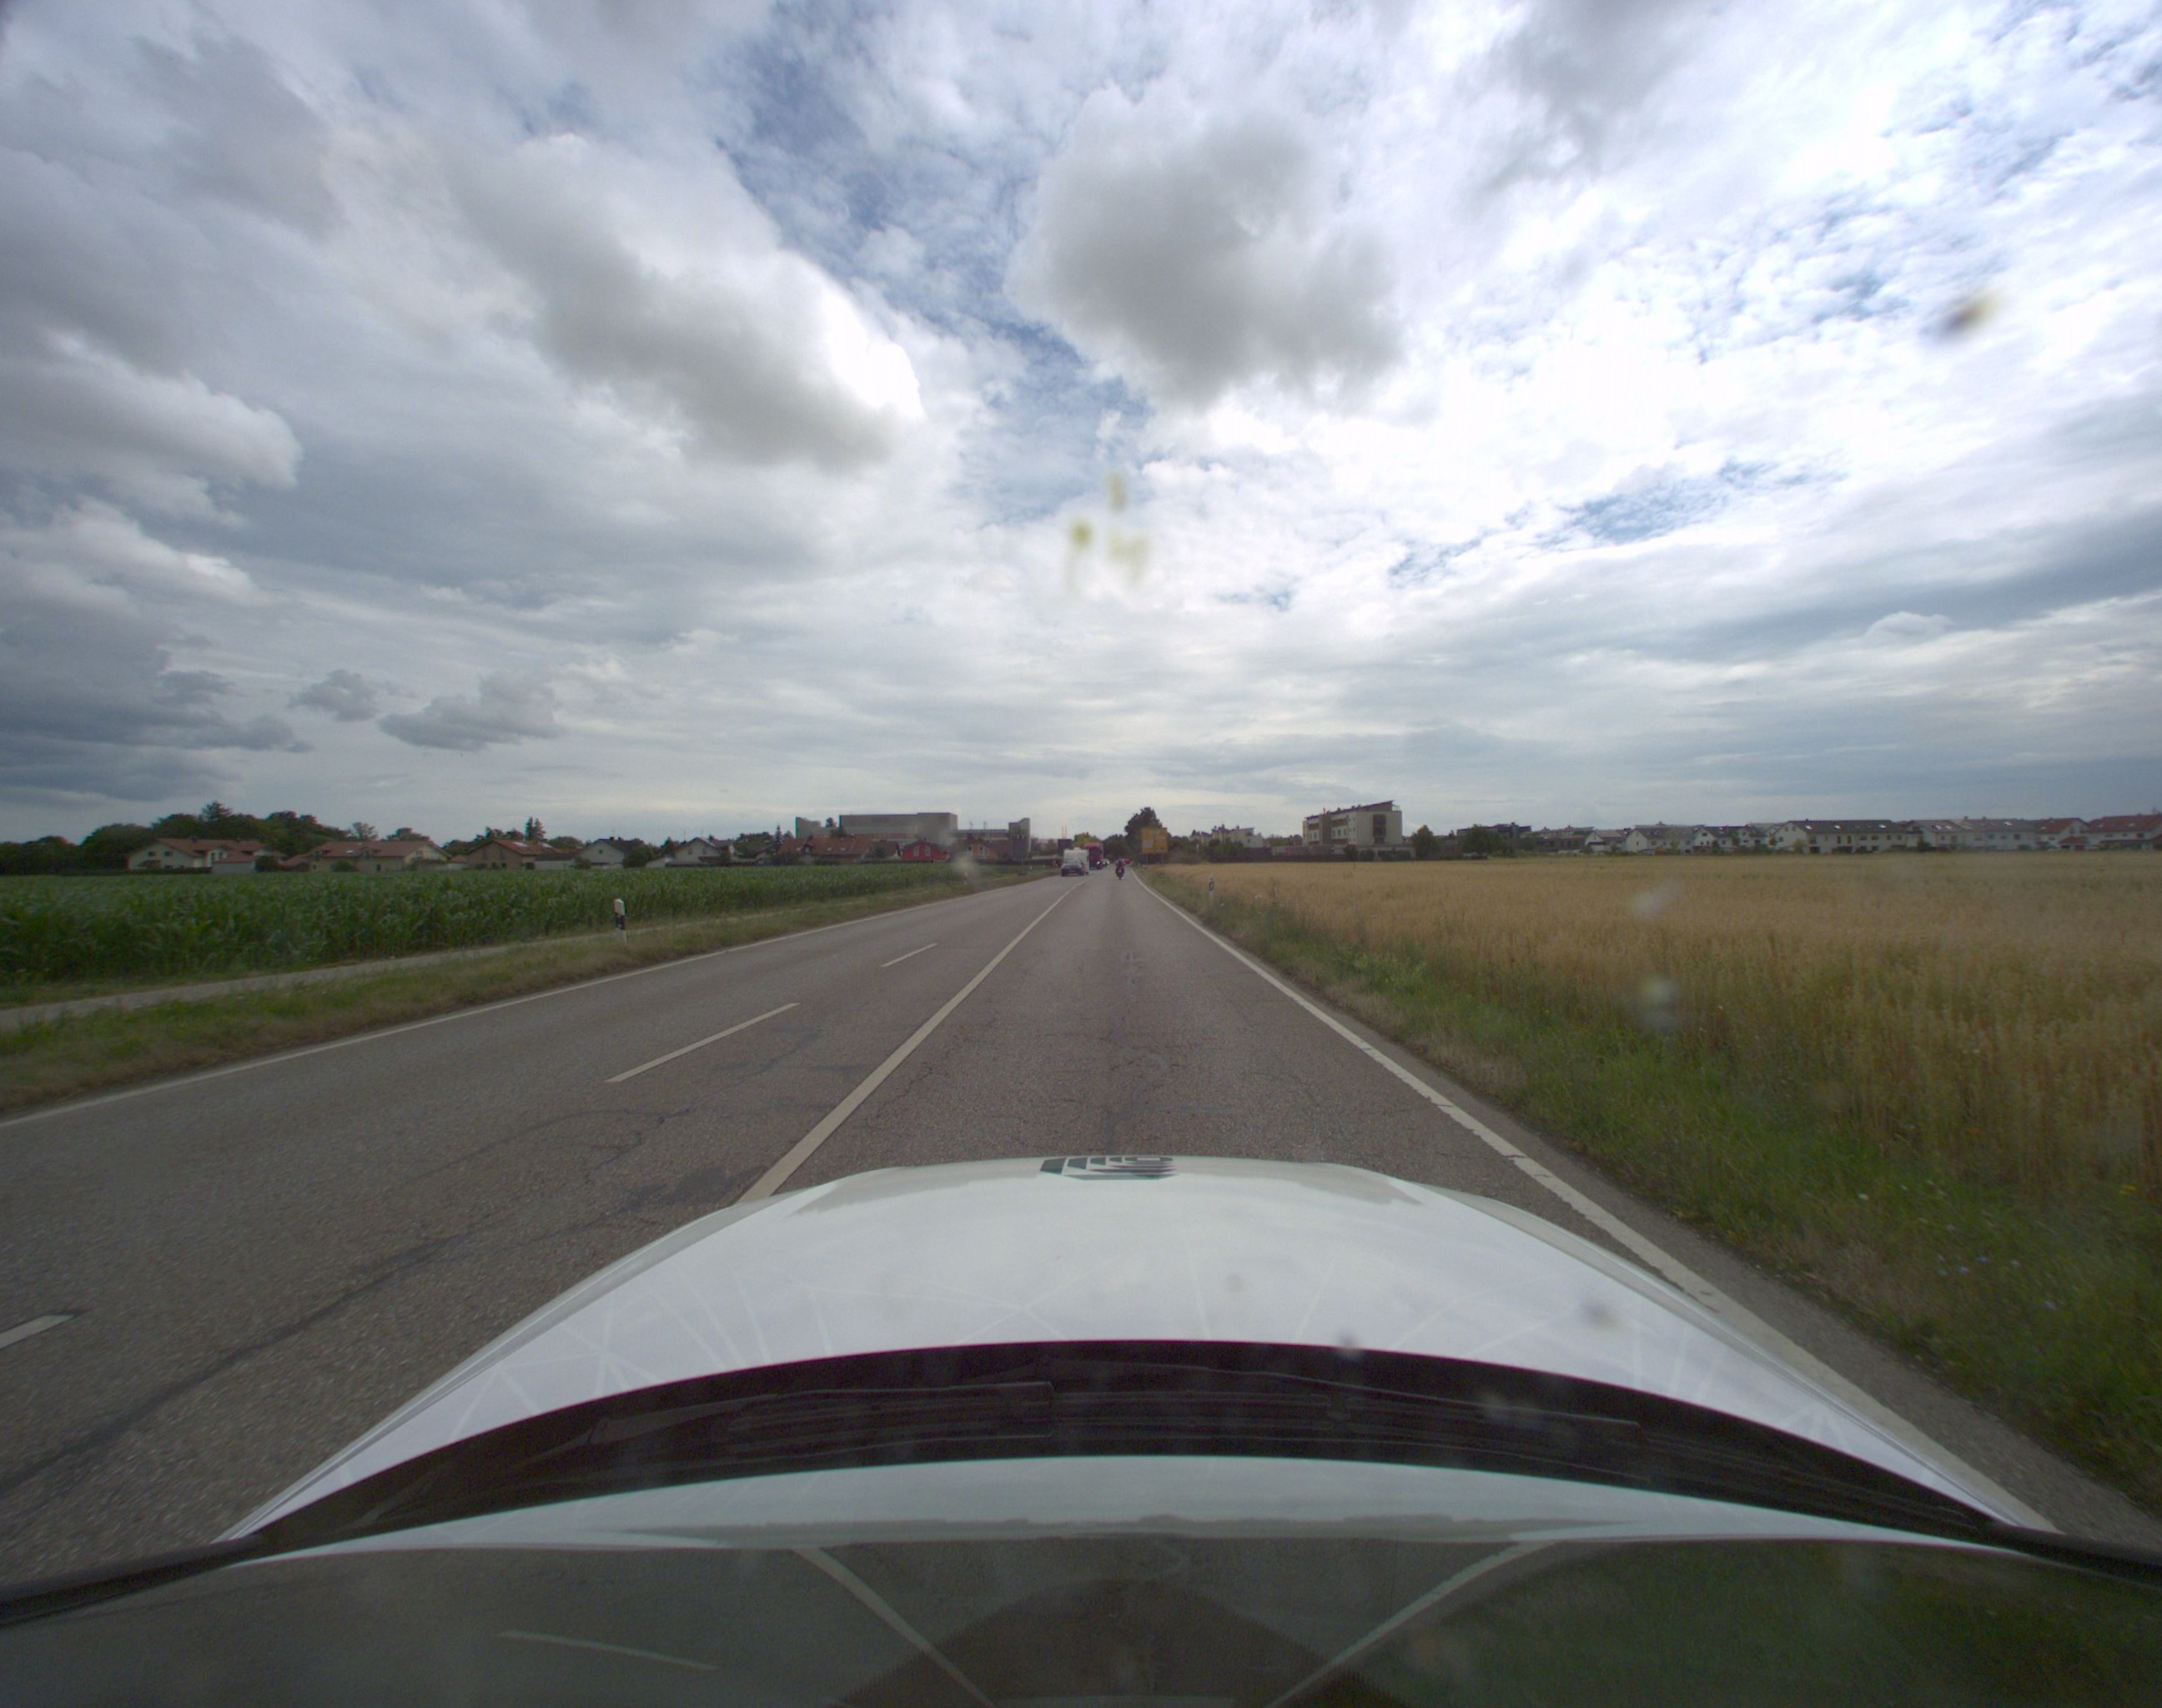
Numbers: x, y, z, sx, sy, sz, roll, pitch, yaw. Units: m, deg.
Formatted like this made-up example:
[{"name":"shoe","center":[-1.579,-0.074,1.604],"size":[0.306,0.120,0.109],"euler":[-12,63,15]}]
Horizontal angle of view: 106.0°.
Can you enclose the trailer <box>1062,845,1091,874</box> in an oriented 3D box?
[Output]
[{"name":"trailer","center":[-0.409,0.507,81.860],"size":[2.314,2.729,7.850],"euler":[-1,0,4]}]

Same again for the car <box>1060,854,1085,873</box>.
[{"name":"car","center":[-0.735,0.875,75.922],"size":[1.985,1.699,4.679],"euler":[-1,0,3]}]

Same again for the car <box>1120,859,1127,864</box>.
[{"name":"car","center":[11.207,1.987,213.956],"size":[1.847,1.472,4.003],"euler":[-1,-1,3]}]

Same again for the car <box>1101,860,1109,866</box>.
[{"name":"car","center":[6.014,2.233,203.474],"size":[1.848,1.472,4.001],"euler":[-1,-1,1]}]

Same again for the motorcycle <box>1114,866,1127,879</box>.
[{"name":"motorcycle","center":[2.960,1.371,60.535],"size":[0.937,0.890,2.147],"euler":[-1,-1,3]}]

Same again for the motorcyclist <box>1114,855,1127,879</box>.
[{"name":"motorcyclist","center":[2.959,0.933,60.572],"size":[0.937,1.750,1.201],"euler":[-1,-1,3]}]

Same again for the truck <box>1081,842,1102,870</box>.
[{"name":"truck","center":[1.606,0.274,122.491],"size":[2.718,3.987,6.822],"euler":[-2,-1,3]}]
